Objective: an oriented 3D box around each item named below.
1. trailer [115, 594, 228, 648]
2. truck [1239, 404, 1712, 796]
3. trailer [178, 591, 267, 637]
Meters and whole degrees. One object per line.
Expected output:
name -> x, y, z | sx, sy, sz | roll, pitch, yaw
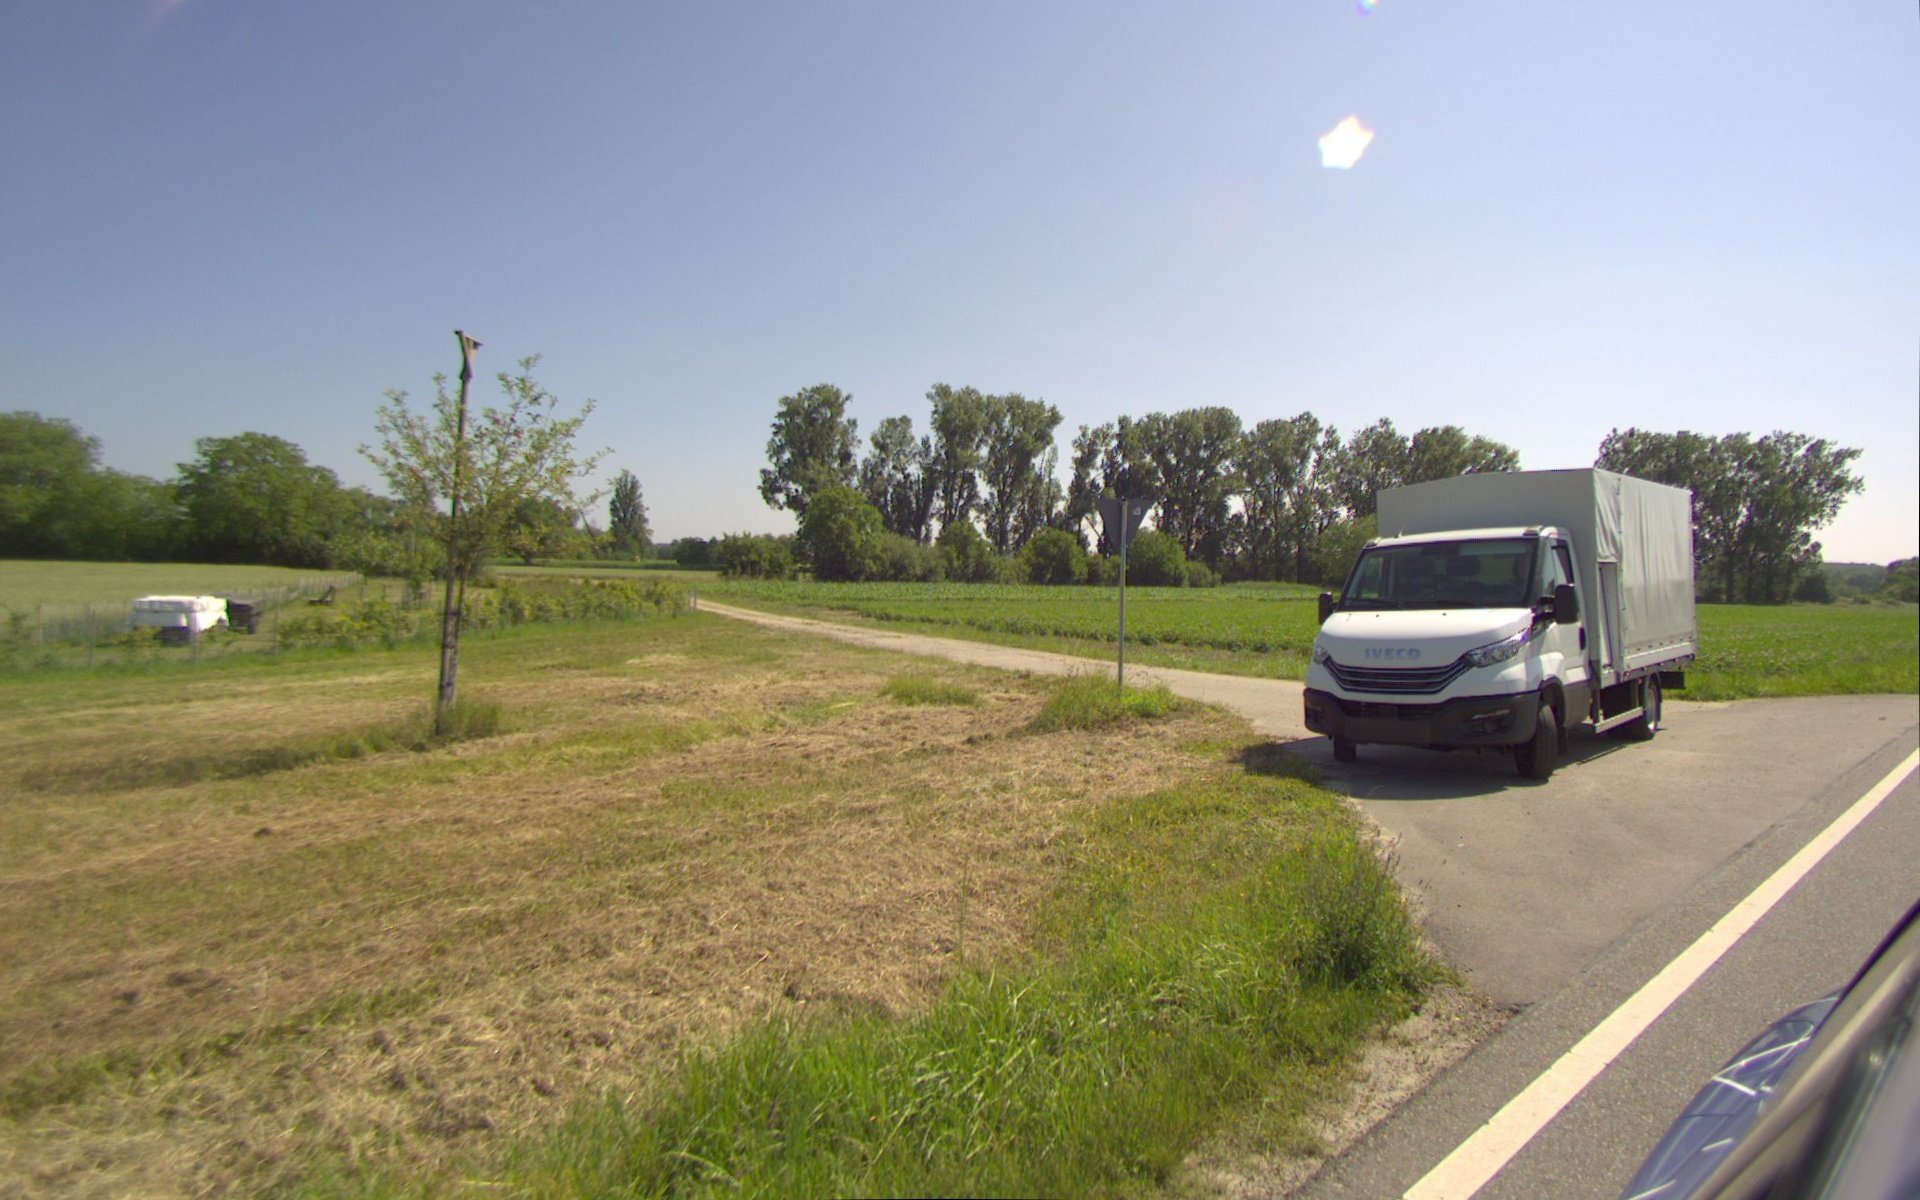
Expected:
trailer -> -19.225, 0.471, 24.823 | 1.630, 1.204, 3.601 | 0, 0, -29
truck -> 5.914, -0.004, 10.938 | 6.891, 2.980, 2.337 | 0, -1, -43
trailer -> -21.244, 0.350, 29.258 | 1.630, 1.204, 3.554 | 0, 1, -29
